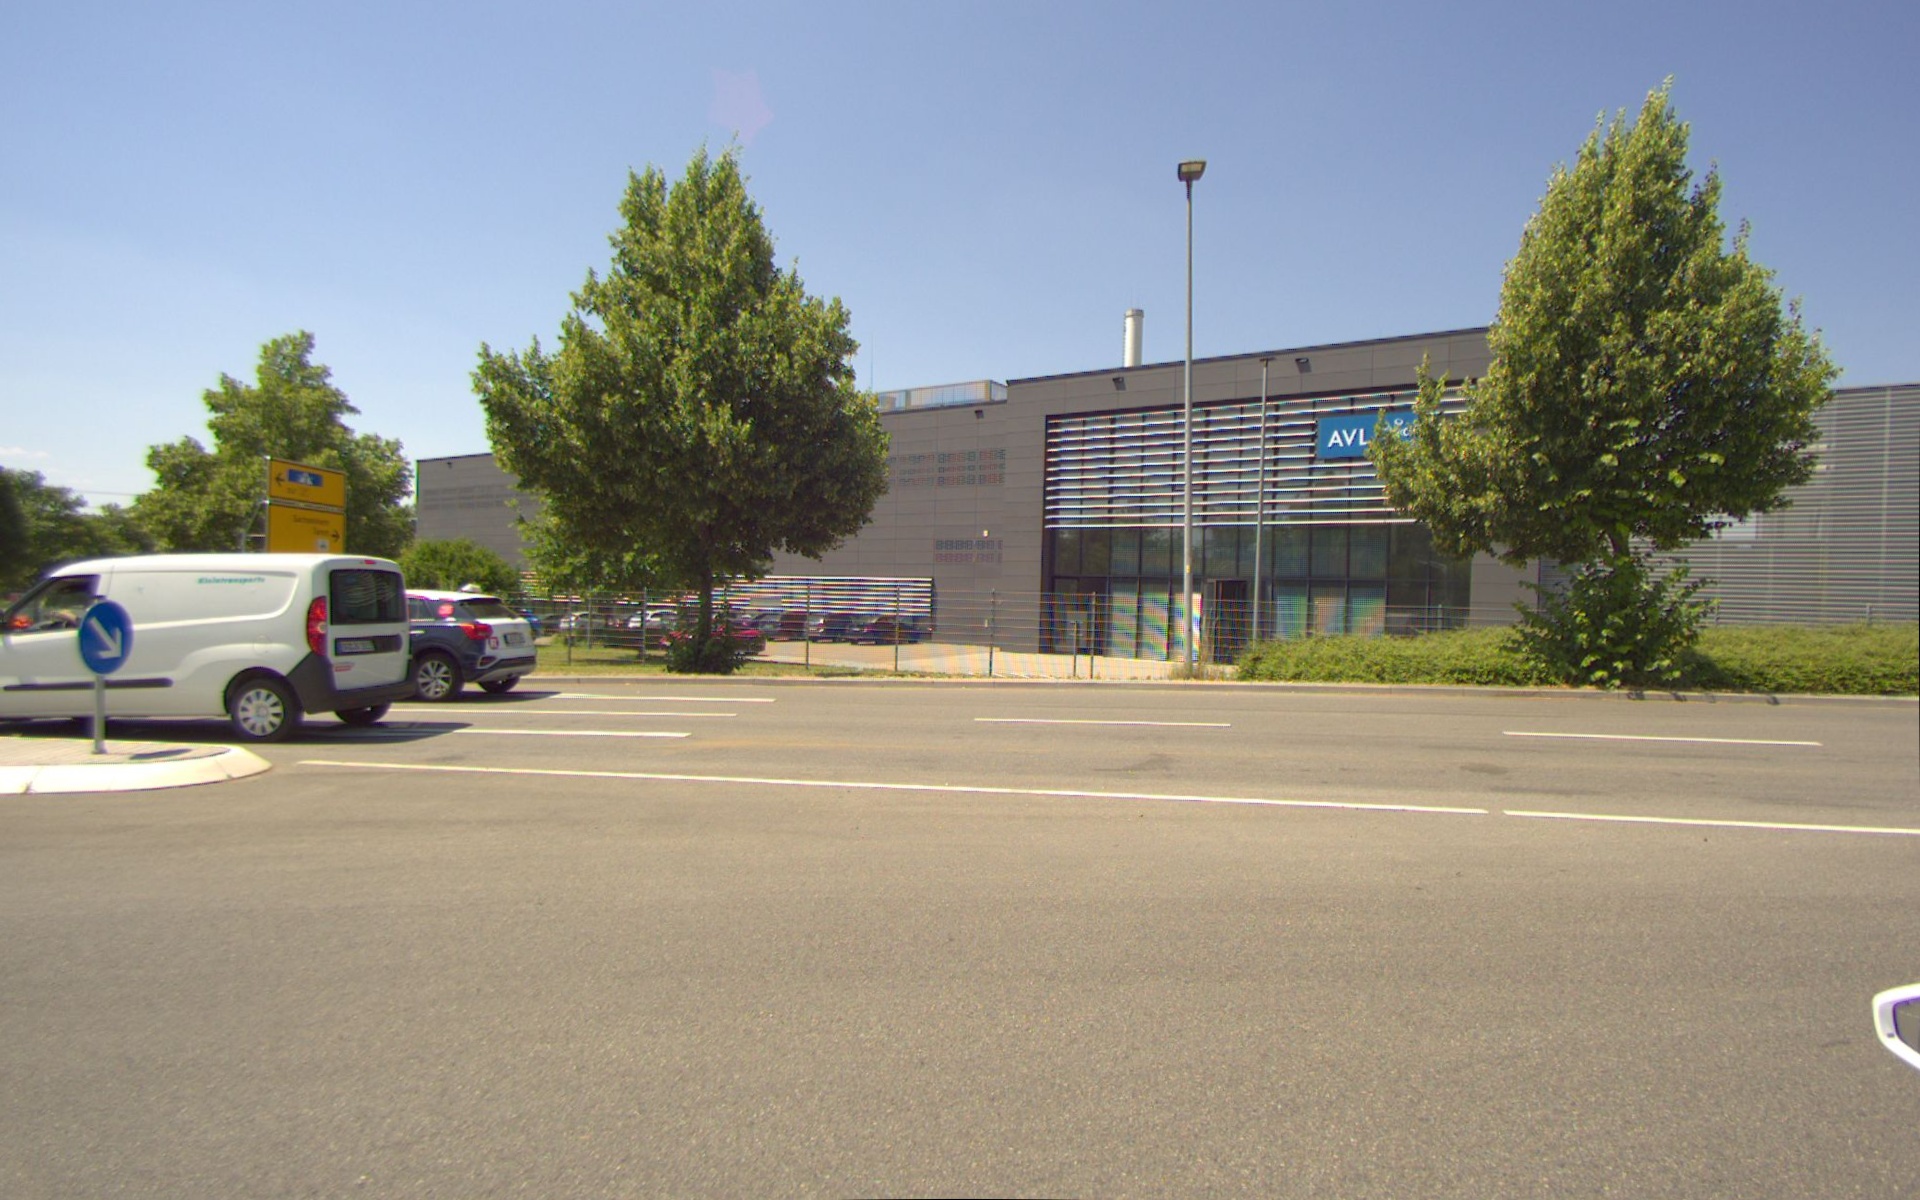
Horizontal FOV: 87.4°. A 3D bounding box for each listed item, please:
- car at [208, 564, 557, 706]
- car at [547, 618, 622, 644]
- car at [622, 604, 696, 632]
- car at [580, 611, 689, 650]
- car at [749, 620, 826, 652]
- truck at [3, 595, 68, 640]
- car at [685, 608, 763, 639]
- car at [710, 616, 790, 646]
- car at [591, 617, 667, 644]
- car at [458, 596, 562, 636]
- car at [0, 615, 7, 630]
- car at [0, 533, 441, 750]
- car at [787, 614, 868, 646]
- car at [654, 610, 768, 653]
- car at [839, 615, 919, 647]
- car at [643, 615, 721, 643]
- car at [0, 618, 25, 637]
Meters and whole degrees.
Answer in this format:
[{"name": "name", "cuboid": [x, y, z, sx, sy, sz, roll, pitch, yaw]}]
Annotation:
[{"name": "car", "cuboid": [-8.058, 0.433, 14.316, 3.788, 1.730, 1.999, 2, 3, 0]}, {"name": "car", "cuboid": [-22.976, 1.933, 61.628, 1.964, 1.505, 3.993, -2, -3, 29]}, {"name": "car", "cuboid": [-17.169, 1.067, 57.401, 1.740, 1.479, 3.993, -2, -3, 29]}, {"name": "car", "cuboid": [-13.212, 1.268, 41.017, 1.964, 1.505, 3.993, -2, -3, 29]}, {"name": "car", "cuboid": [-8.758, 1.861, 51.331, 1.788, 1.548, 3.993, -2, -3, 29]}, {"name": "truck", "cuboid": [-84.221, 1.671, 91.636, 3.242, 3.890, 6.148, 1, -3, -33]}, {"name": "car", "cuboid": [-12.761, 1.248, 54.553, 1.886, 1.537, 3.992, -2, -1, 29]}, {"name": "car", "cuboid": [-11.013, 1.662, 52.918, 1.964, 1.505, 3.993, -2, -3, 29]}, {"name": "car", "cuboid": [-19.345, 1.784, 58.885, 1.964, 1.505, 3.993, -2, -3, 29]}, {"name": "car", "cuboid": [-20.560, 0.776, 46.059, 1.964, 1.728, 3.993, -2, -3, 29]}, {"name": "car", "cuboid": [-117.341, 2.749, 122.198, 1.987, 1.806, 3.948, 2, -3, -44]}, {"name": "car", "cuboid": [-8.407, 0.338, 10.636, 4.775, 1.969, 1.999, 2, 3, 0]}, {"name": "car", "cuboid": [-6.516, 1.491, 49.774, 1.964, 1.505, 3.993, -2, -3, 29]}, {"name": "car", "cuboid": [-9.271, 1.208, 37.707, 1.964, 1.505, 3.993, -2, -3, 29]}, {"name": "car", "cuboid": [-3.901, 1.518, 48.871, 1.964, 1.505, 3.993, -2, -3, 29]}, {"name": "car", "cuboid": [-15.379, 1.618, 55.730, 1.964, 1.505, 3.993, -2, -3, 29]}, {"name": "car", "cuboid": [-104.575, 3.007, 110.485, 1.981, 2.040, 3.959, 1, -3, -37]}]
